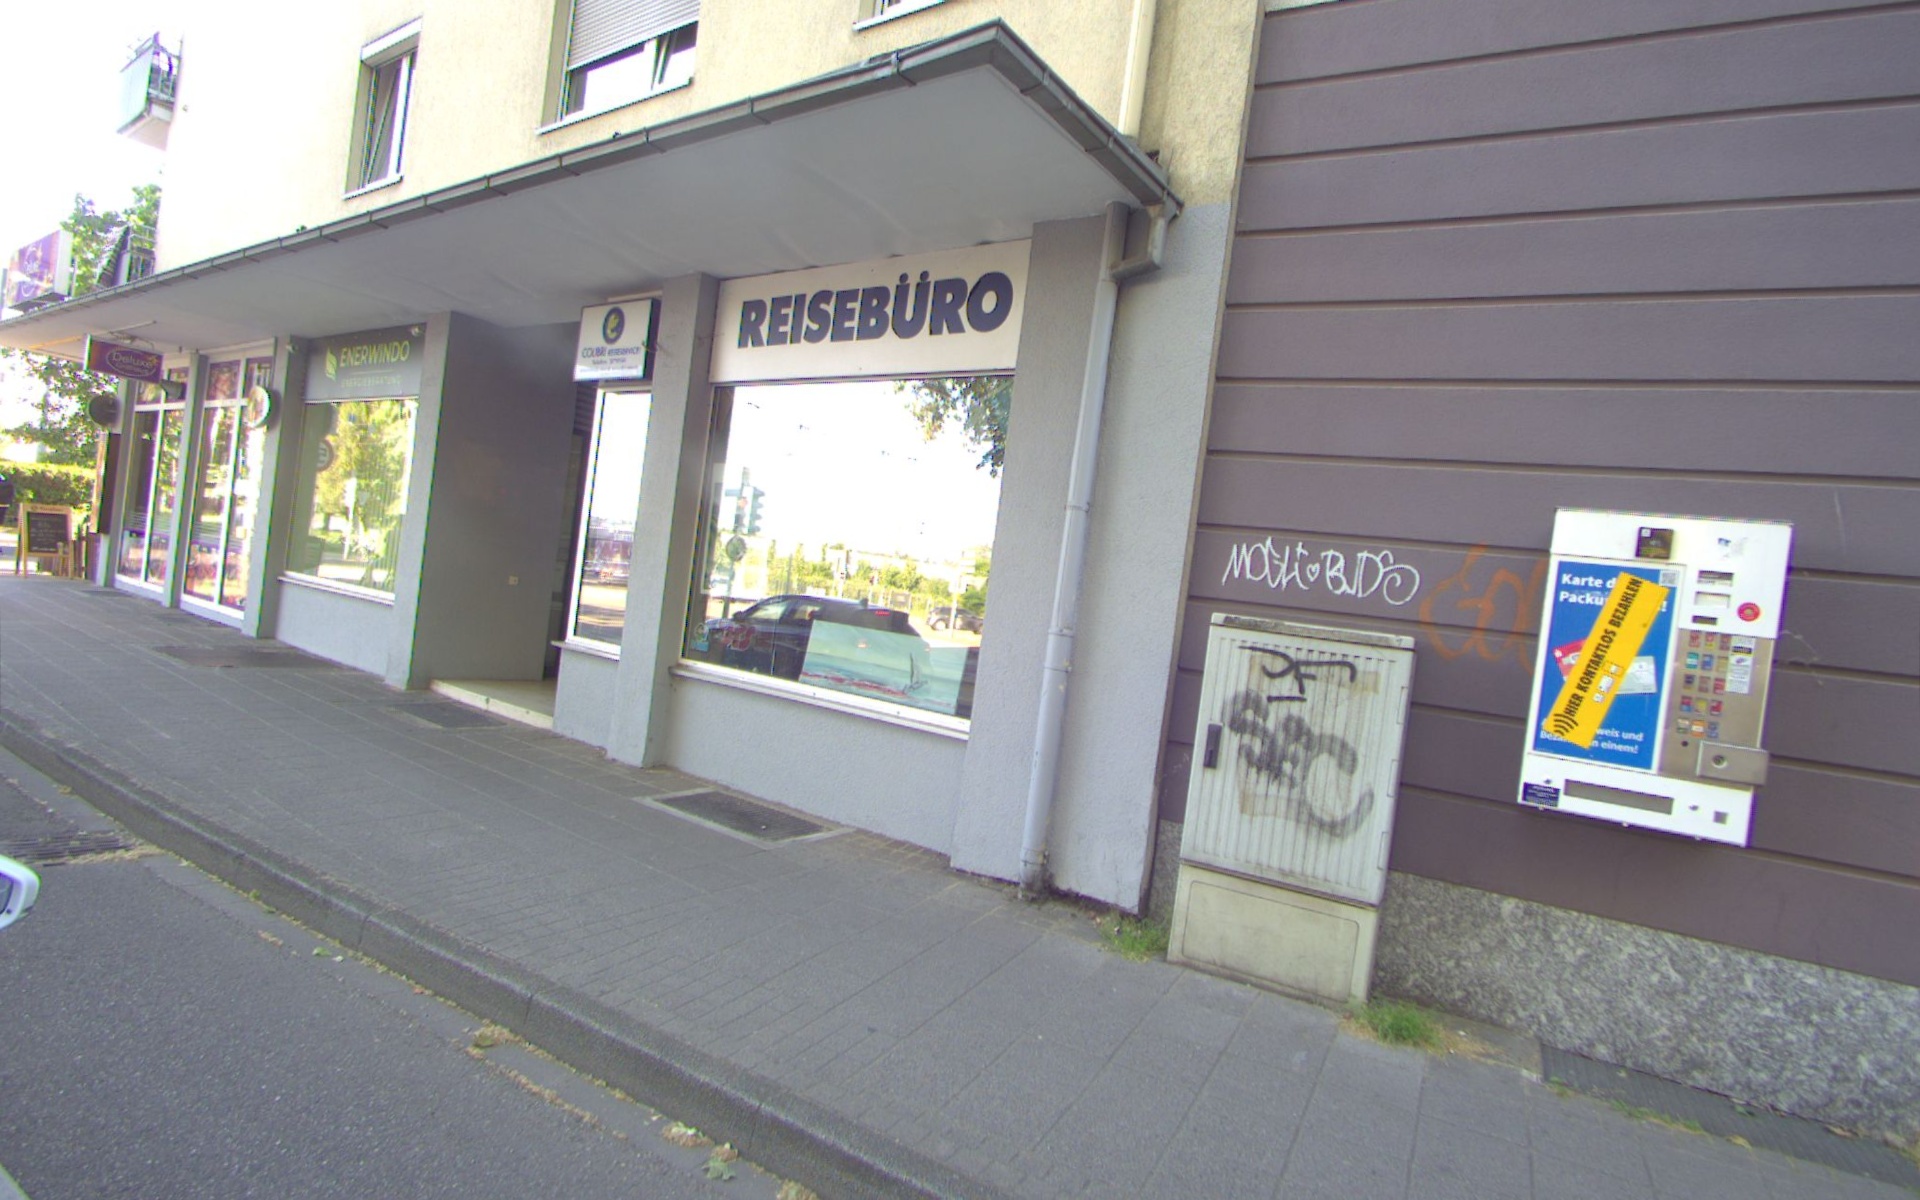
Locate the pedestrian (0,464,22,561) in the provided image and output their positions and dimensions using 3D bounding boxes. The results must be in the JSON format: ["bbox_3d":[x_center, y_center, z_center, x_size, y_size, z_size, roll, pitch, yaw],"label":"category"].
[{"bbox_3d":[-18.852,-1.721,19.580,0.630,1.841,0.738,8,-1,-38],"label":"pedestrian"}]
